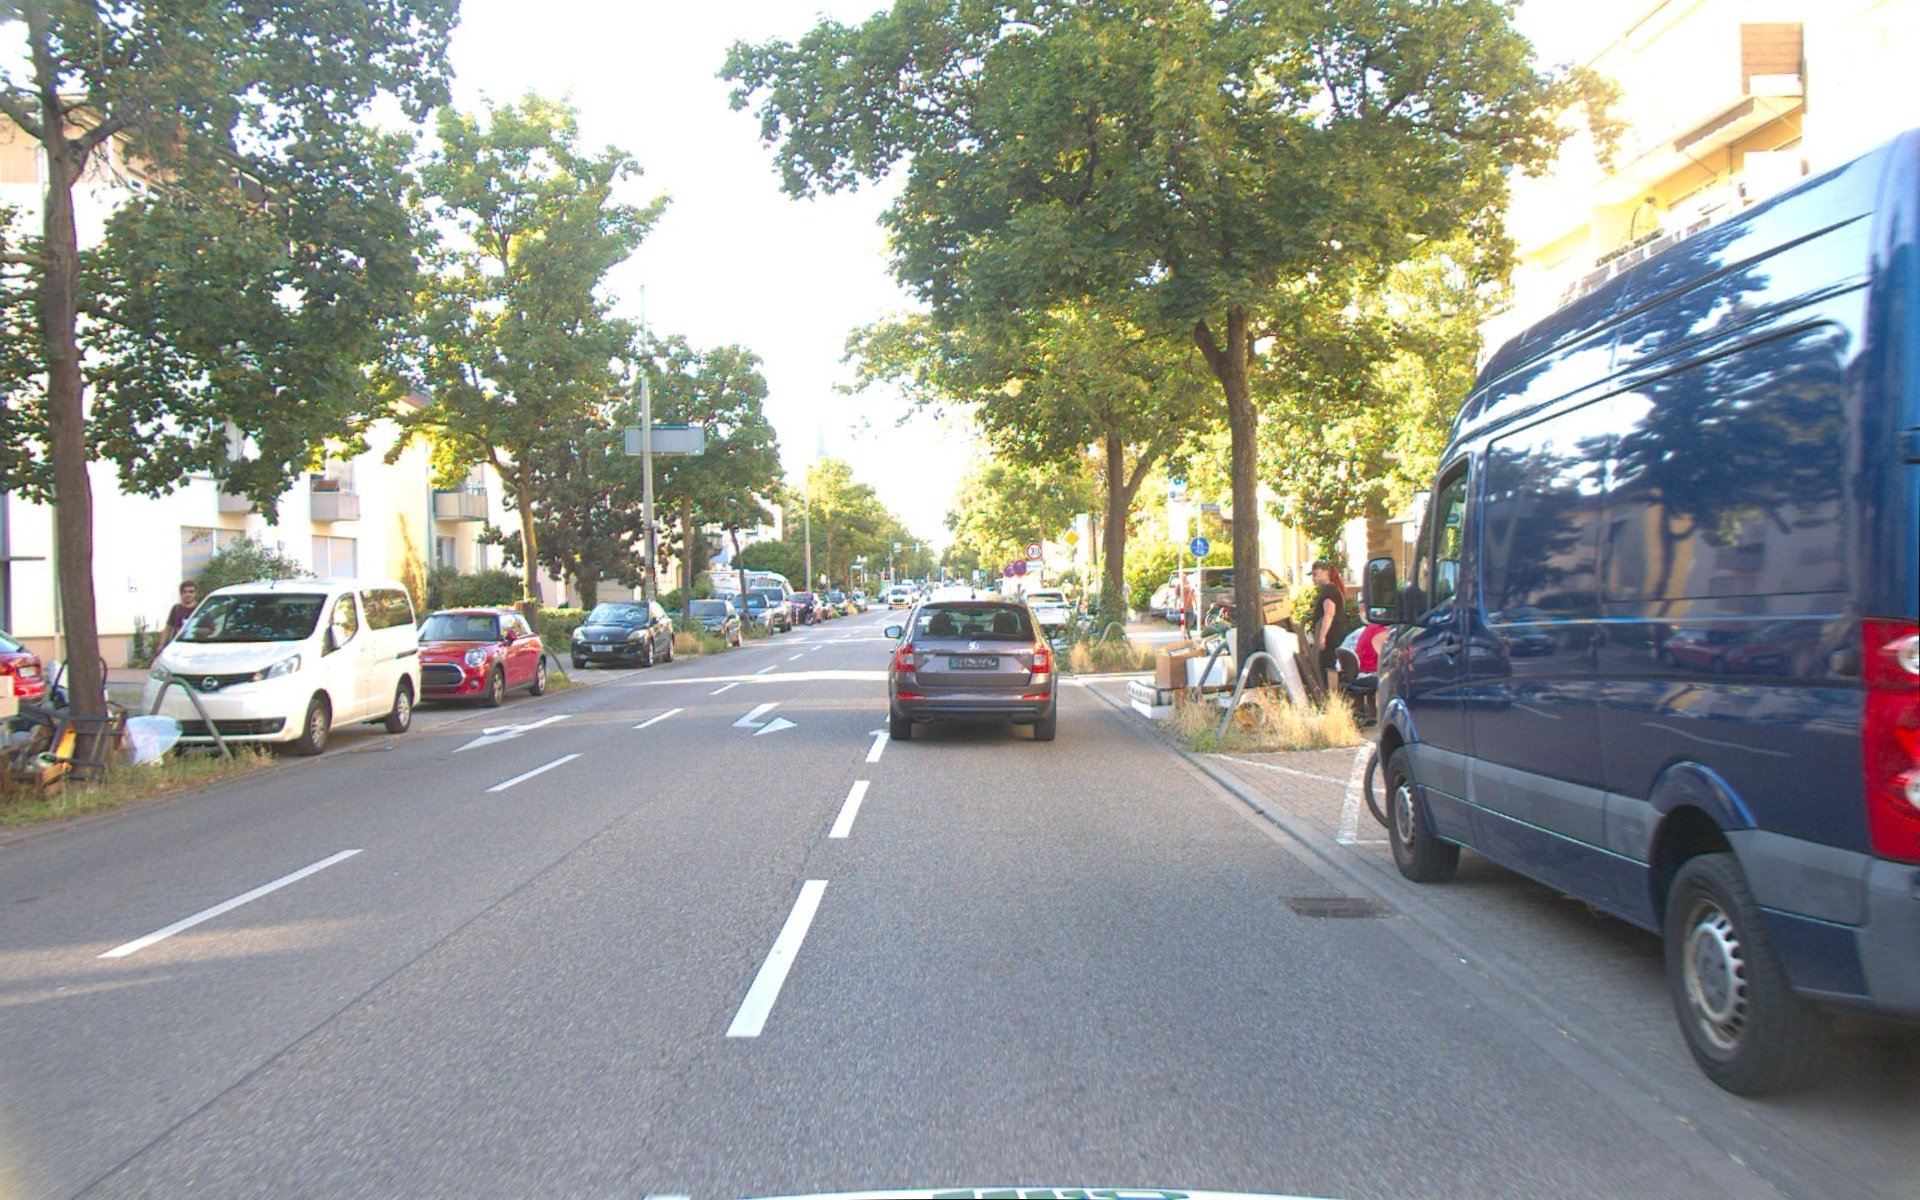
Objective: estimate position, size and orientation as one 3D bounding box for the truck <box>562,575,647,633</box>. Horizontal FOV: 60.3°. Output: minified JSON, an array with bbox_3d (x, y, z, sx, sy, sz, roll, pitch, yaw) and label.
[{"bbox_3d":[-13.668,0.130,63.671,2.854,2.130,1.546,-2,1,-1],"label":"truck"}]

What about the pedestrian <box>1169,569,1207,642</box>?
[{"bbox_3d":[5.814,0.136,42.273,0.741,1.827,0.905,-2,1,-5],"label":"pedestrian"}]

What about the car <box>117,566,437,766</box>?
[{"bbox_3d":[-7.534,0.625,18.772,1.734,1.952,4.459,-2,1,0],"label":"car"}]

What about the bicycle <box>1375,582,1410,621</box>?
[{"bbox_3d":[11.020,0.036,42.175,0.335,0.967,1.580,1,0,-6],"label":"bicycle"}]

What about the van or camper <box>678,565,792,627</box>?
[{"bbox_3d":[-15.397,-0.286,113.401,7.487,3.942,1.999,-2,1,-2],"label":"van or camper"}]

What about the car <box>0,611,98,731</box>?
[{"bbox_3d":[-13.510,0.930,20.474,4.630,1.386,1.993,-2,1,-14],"label":"car"}]

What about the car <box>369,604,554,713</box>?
[{"bbox_3d":[-7.600,0.844,25.586,1.682,1.445,3.786,-2,1,0],"label":"car"}]

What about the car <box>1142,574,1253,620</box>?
[{"bbox_3d":[8.697,-0.129,60.517,3.748,1.552,1.501,-2,1,-23],"label":"car"}]

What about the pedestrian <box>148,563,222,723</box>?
[{"bbox_3d":[-10.136,0.545,21.651,0.614,2.048,0.616,-2,1,-1],"label":"pedestrian"}]

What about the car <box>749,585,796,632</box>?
[{"bbox_3d":[-7.554,0.320,66.949,1.476,1.787,3.693,-2,1,0],"label":"car"}]

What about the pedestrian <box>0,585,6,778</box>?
[{"bbox_3d":[-10.216,0.813,16.523,0.751,2.048,0.976,-2,1,-1],"label":"pedestrian"}]

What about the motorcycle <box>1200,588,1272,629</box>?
[{"bbox_3d":[8.145,0.247,48.872,2.011,1.144,0.525,-2,1,-6],"label":"motorcycle"}]

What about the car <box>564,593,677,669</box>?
[{"bbox_3d":[-7.689,0.665,37.814,1.682,1.523,4.248,-2,1,0],"label":"car"}]

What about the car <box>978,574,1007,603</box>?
[{"bbox_3d":[2.182,-0.801,112.134,1.695,1.846,3.949,-2,1,-2],"label":"car"}]

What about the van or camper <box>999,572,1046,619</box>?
[{"bbox_3d":[2.866,-0.251,76.352,1.953,2.048,4.000,-2,1,0],"label":"van or camper"}]

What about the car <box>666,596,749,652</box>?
[{"bbox_3d":[-7.428,0.677,48.959,1.718,1.445,4.426,-2,1,0],"label":"car"}]

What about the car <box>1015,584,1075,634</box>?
[{"bbox_3d":[2.666,0.245,52.453,1.783,1.437,4.112,-2,1,2],"label":"car"}]

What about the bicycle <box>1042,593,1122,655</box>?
[{"bbox_3d":[2.716,0.529,36.706,1.635,1.247,0.636,-4,0,12],"label":"bicycle"}]

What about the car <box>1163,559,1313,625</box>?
[{"bbox_3d":[8.822,-0.269,52.456,4.482,1.925,1.897,-2,1,-28],"label":"car"}]

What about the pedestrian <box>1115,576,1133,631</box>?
[{"bbox_3d":[5.463,0.109,55.085,0.524,1.825,0.688,-2,1,1],"label":"pedestrian"}]

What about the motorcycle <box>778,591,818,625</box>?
[{"bbox_3d":[-7.572,0.369,77.165,0.760,1.538,1.998,-2,1,-42],"label":"motorcycle"}]

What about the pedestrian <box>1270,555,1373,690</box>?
[{"bbox_3d":[4.180,0.251,19.112,1.046,1.502,0.476,-2,1,-20],"label":"pedestrian"}]

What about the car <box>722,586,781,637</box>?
[{"bbox_3d":[-7.788,0.393,62.075,1.714,1.771,3.591,-2,1,0],"label":"car"}]

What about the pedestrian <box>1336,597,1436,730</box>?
[{"bbox_3d":[4.276,0.628,16.637,0.781,1.276,0.700,-2,1,-3],"label":"pedestrian"}]

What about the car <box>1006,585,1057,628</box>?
[{"bbox_3d":[2.603,0.214,60.938,1.783,1.437,4.112,-2,1,2],"label":"car"}]

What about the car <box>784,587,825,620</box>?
[{"bbox_3d":[-7.729,0.154,82.242,1.630,1.538,4.178,-2,1,0],"label":"car"}]

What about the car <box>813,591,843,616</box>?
[{"bbox_3d":[-8.292,0.232,104.073,1.630,1.457,3.275,-2,1,-1],"label":"car"}]

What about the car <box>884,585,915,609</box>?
[{"bbox_3d":[-4.756,-0.269,130.557,1.837,1.787,4.181,-2,1,5],"label":"car"}]

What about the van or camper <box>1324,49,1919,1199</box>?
[{"bbox_3d":[3.209,0.062,6.803,2.025,2.722,5.989,-2,0,0],"label":"van or camper"}]

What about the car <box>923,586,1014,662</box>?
[{"bbox_3d":[0.131,0.483,36.438,1.695,1.520,3.948,-2,1,-4],"label":"car"}]

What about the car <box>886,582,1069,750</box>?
[{"bbox_3d":[0.191,0.606,17.701,1.694,1.520,3.951,-2,1,1],"label":"car"}]

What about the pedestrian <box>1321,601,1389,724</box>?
[{"bbox_3d":[4.241,0.666,17.749,0.639,1.276,0.658,-1,1,17],"label":"pedestrian"}]

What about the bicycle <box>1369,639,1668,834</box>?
[{"bbox_3d":[3.398,0.827,10.131,1.666,1.108,0.404,-2,1,2],"label":"bicycle"}]
